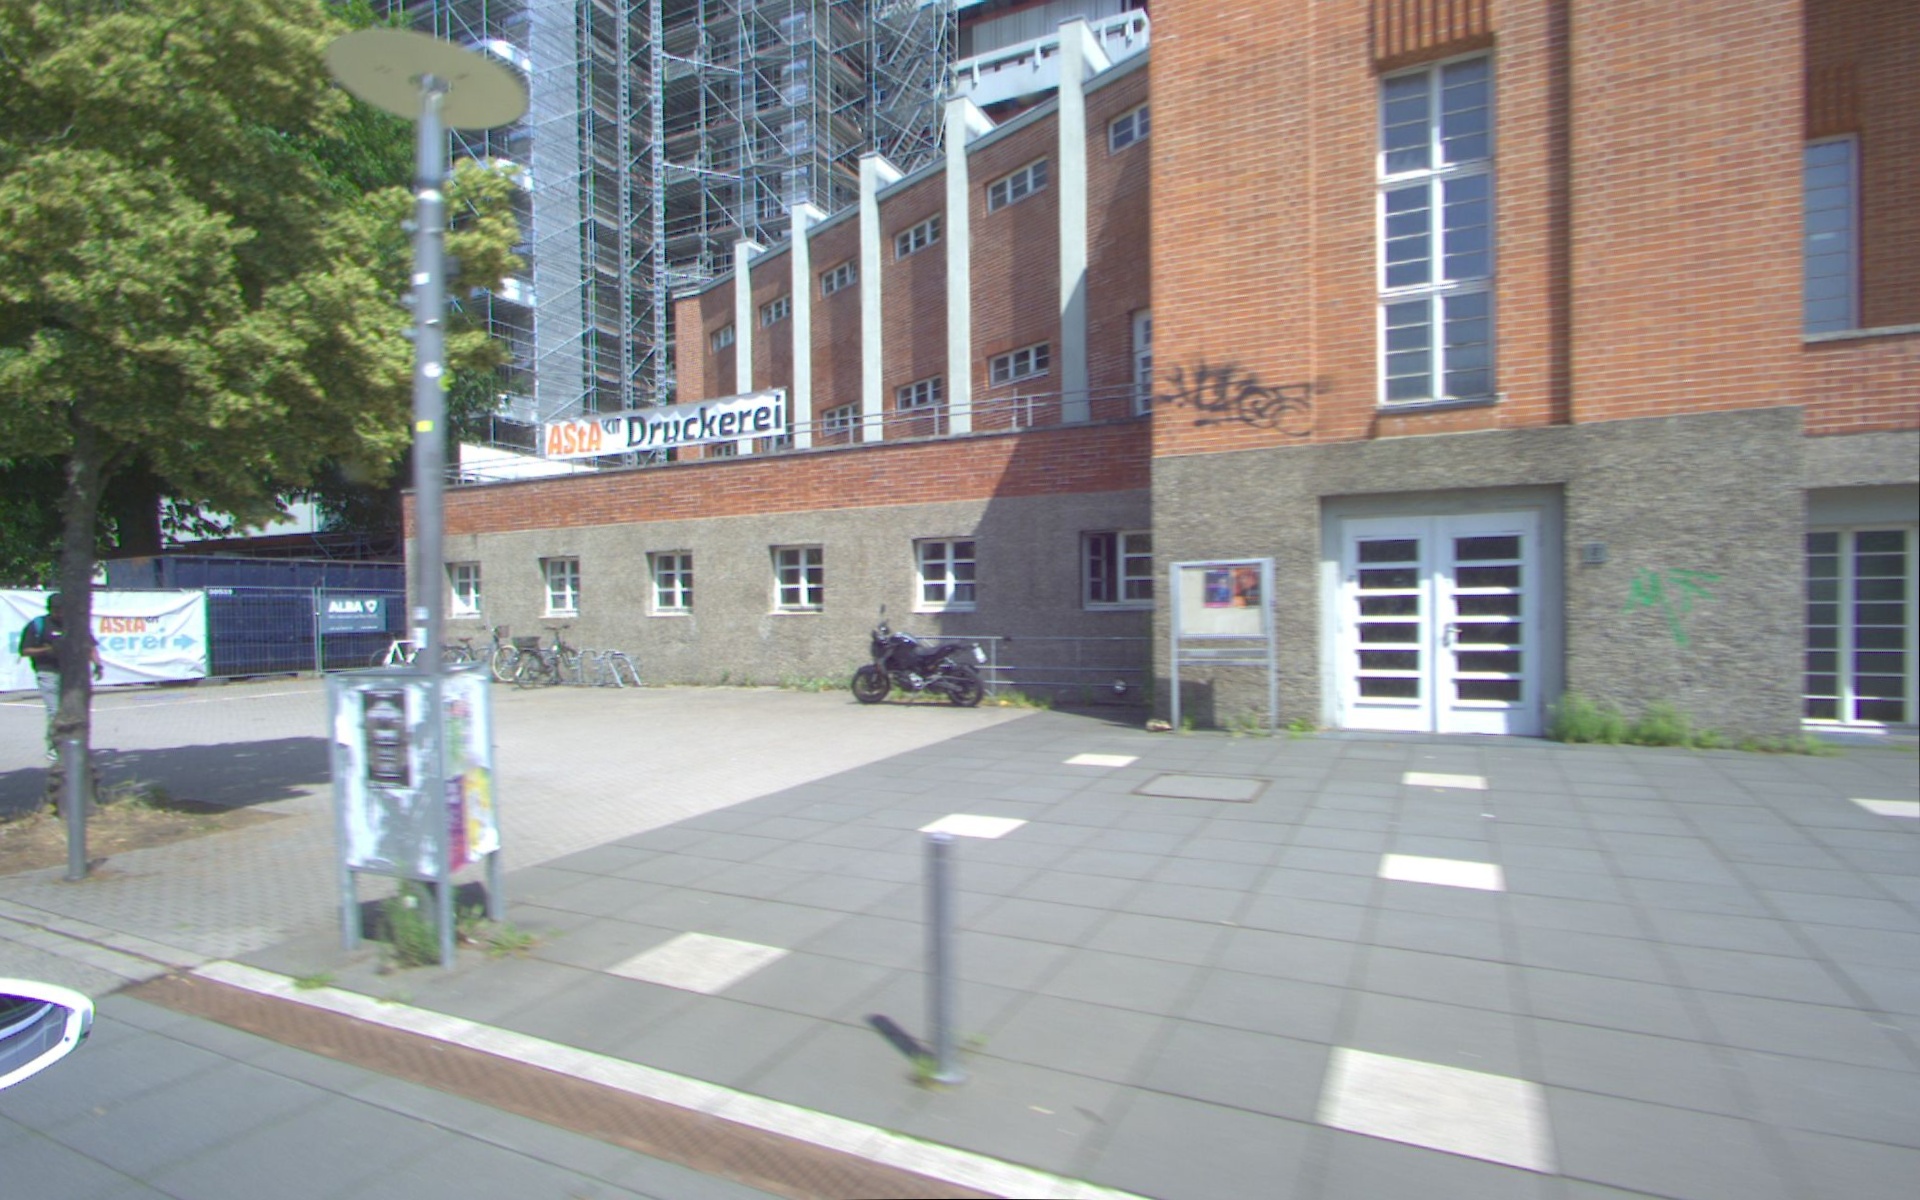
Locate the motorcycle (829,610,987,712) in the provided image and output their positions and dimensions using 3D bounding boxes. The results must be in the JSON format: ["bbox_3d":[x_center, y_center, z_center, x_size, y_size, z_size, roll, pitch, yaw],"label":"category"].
[{"bbox_3d":[-0.747,0.825,14.105,2.186,1.341,0.695,-1,0,29],"label":"motorcycle"}]

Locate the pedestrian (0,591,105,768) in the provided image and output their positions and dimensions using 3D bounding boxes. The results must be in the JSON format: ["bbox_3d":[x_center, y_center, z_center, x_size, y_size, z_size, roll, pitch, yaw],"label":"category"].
[{"bbox_3d":[-9.281,0.778,10.205,0.781,1.719,0.640,0,0,31],"label":"pedestrian"}]

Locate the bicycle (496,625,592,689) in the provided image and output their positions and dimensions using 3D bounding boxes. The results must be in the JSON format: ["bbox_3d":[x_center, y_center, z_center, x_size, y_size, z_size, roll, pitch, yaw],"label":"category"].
[{"bbox_3d":[-7.751,1.038,18.721,0.441,1.124,1.805,0,0,27],"label":"bicycle"}]

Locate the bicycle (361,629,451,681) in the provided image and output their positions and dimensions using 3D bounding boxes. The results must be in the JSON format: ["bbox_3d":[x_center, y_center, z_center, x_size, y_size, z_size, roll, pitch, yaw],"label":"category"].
[{"bbox_3d":[-11.524,1.126,20.887,0.441,1.016,1.670,0,0,27],"label":"bicycle"}]

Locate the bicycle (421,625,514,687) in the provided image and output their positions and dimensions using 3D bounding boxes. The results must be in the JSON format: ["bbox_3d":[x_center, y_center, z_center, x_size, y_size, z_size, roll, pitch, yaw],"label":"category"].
[{"bbox_3d":[-9.591,1.067,19.571,0.441,1.124,1.700,0,0,27],"label":"bicycle"}]
